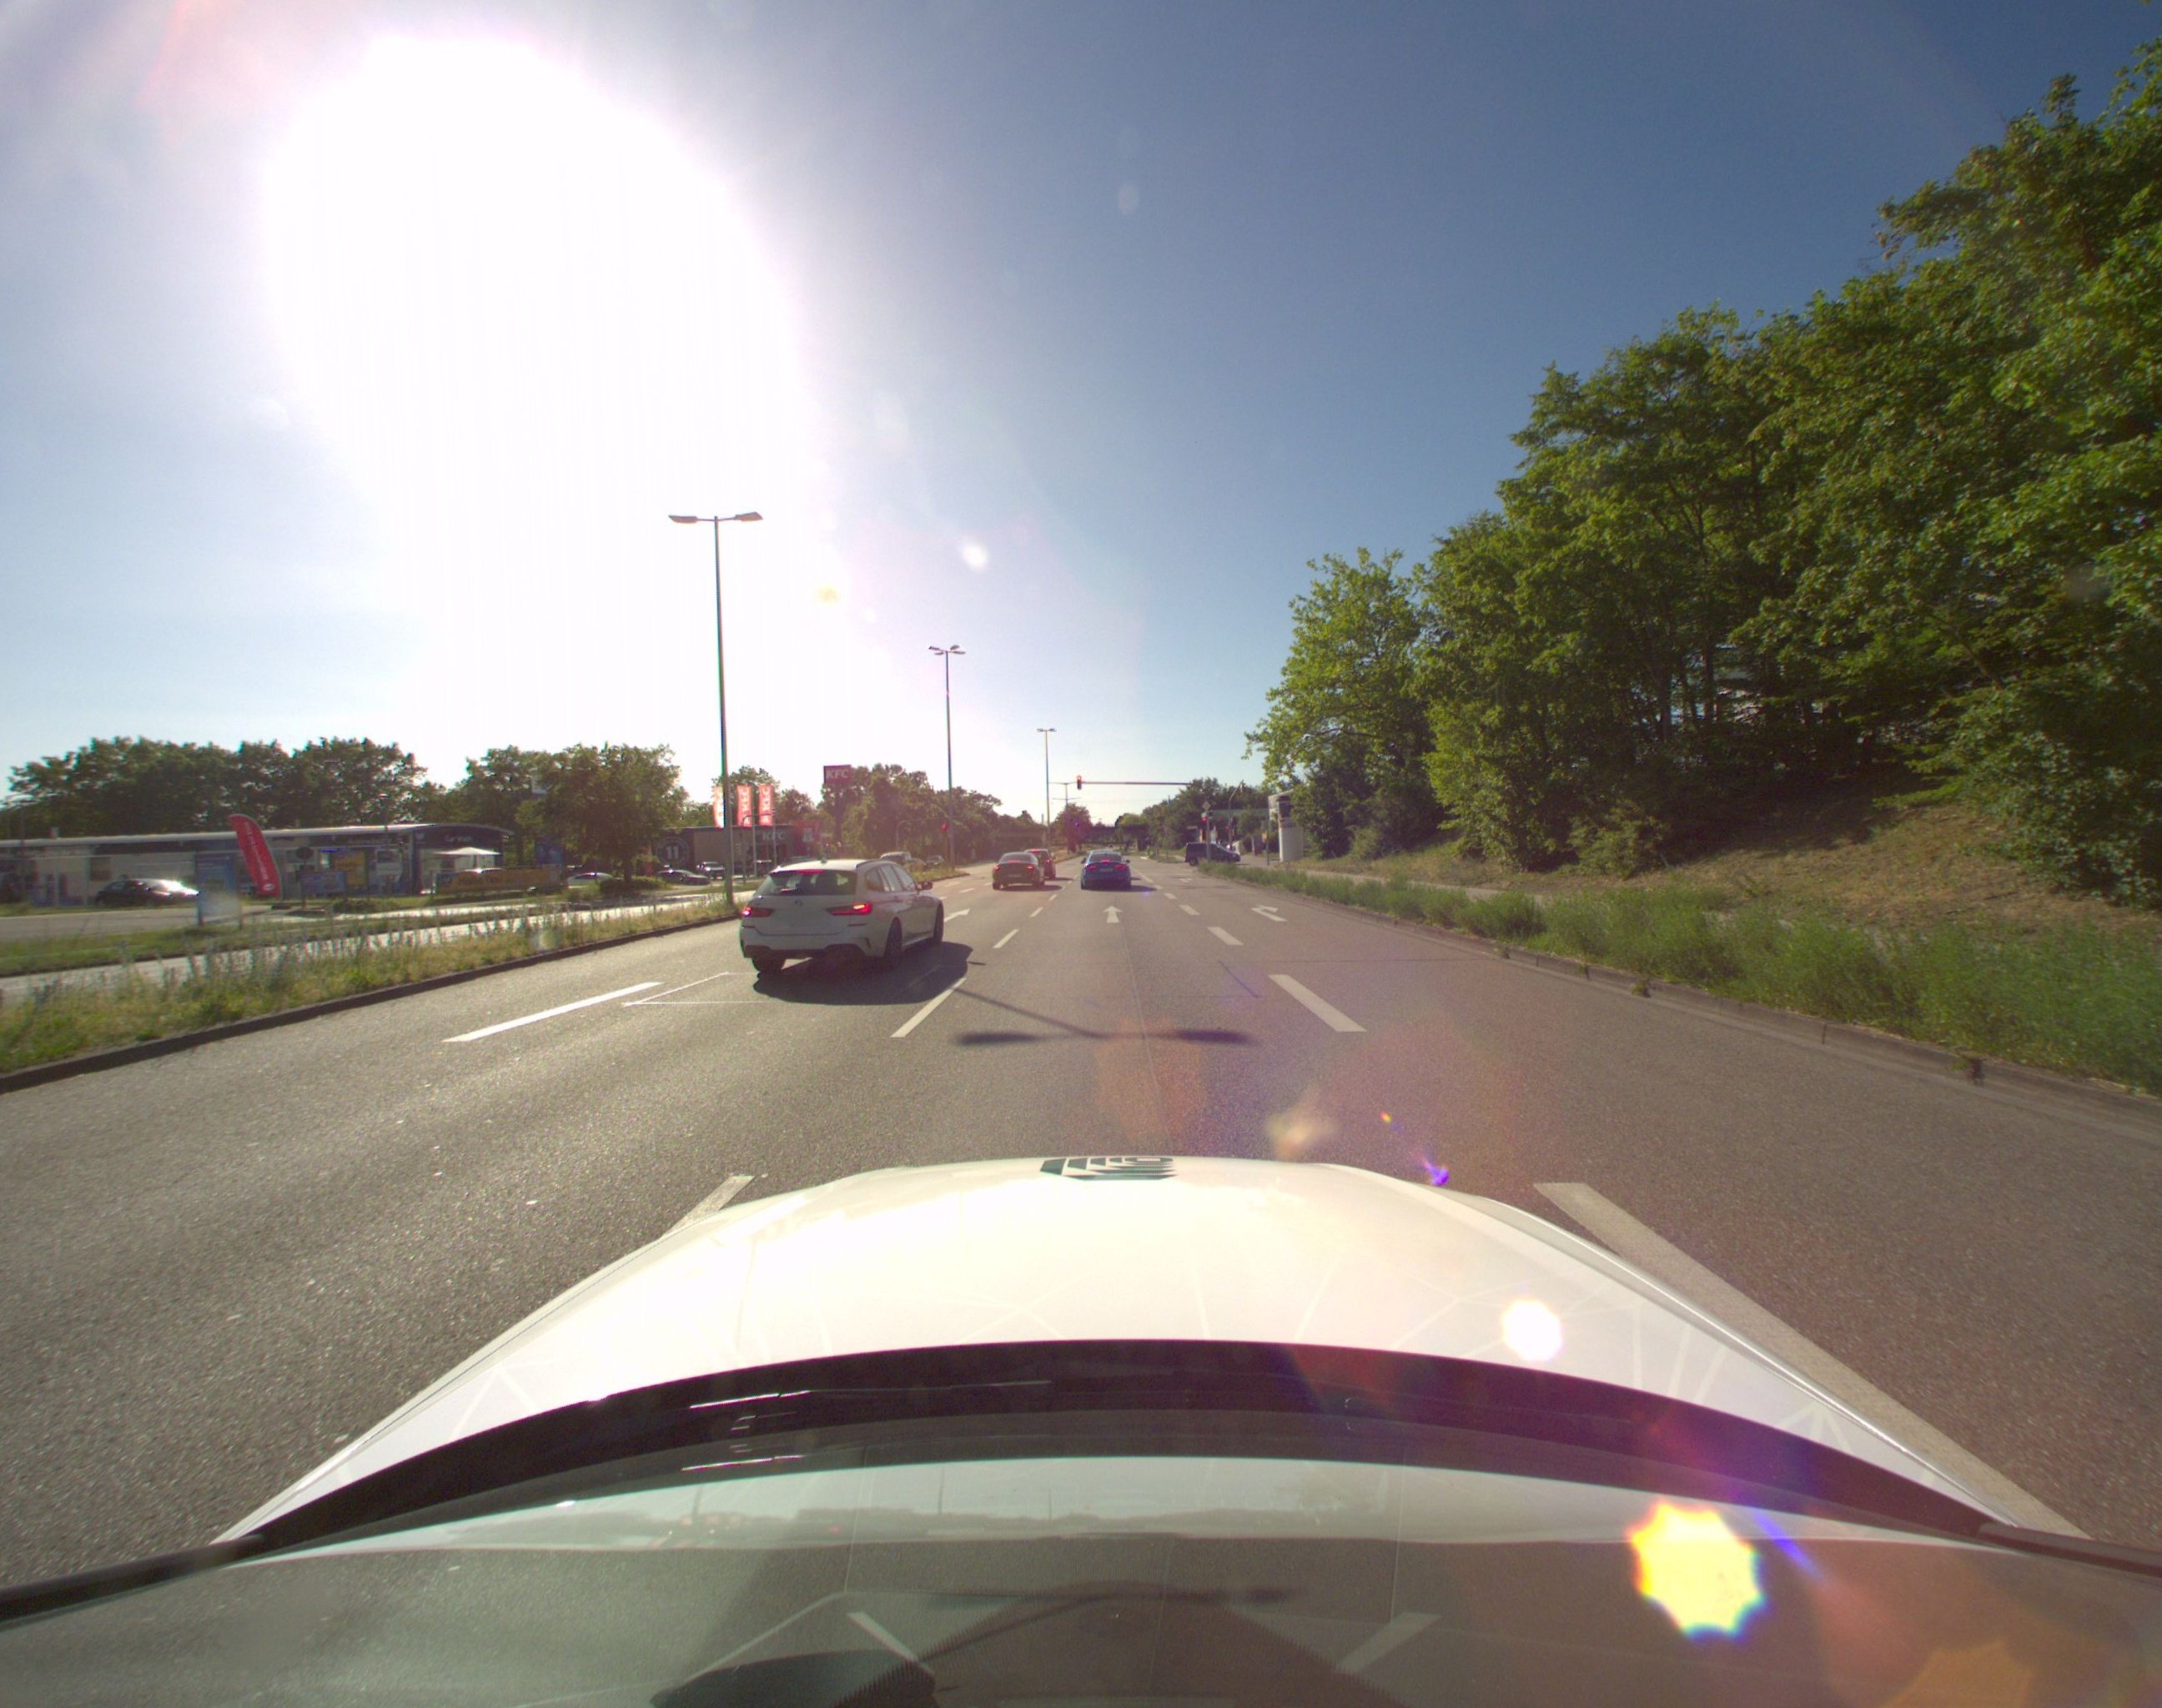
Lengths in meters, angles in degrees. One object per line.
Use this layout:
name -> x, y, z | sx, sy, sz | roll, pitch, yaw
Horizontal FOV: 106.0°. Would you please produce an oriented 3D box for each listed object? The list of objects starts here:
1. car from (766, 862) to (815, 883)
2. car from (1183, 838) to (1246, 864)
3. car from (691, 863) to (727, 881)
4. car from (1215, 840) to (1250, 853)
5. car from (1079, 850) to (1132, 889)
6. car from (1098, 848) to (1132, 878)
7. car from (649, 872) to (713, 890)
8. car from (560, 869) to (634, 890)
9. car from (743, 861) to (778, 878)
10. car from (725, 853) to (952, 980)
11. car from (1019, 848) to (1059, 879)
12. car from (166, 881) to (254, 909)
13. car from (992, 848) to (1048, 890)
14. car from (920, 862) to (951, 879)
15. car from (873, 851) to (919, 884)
car -> -25.493, 1.609, 71.633 | 3.761, 1.813, 1.993 | -1, 0, -11
car -> 10.451, -0.203, 63.869 | 4.543, 1.875, 1.827 | -2, 0, 20
car -> -36.556, 1.761, 80.058 | 1.946, 1.740, 4.046 | 0, -1, -45
car -> 18.576, -0.907, 99.923 | 3.971, 1.552, 2.001 | -1, 0, 2
car -> 1.010, 0.575, 31.726 | 1.901, 1.423, 3.722 | -1, 0, 4
car -> 1.827, 0.441, 42.811 | 1.696, 1.497, 3.722 | -1, 0, 4
car -> -31.292, 2.100, 63.804 | 4.070, 1.252, 1.871 | -1, 0, 0
car -> -38.203, 2.003, 64.358 | 4.608, 1.579, 1.936 | -1, 0, 0
car -> -32.911, 1.573, 83.560 | 1.946, 1.740, 4.046 | 0, -1, -45
car -> -3.228, 0.750, 11.922 | 1.805, 1.486, 4.598 | -1, 0, 2
car -> -2.178, 0.478, 43.136 | 1.806, 1.551, 4.353 | -1, 0, 1
car -> -47.672, 2.224, 44.631 | 3.129, 1.441, 1.534 | -1, 0, 0
car -> -2.400, 0.565, 33.295 | 1.805, 1.551, 4.544 | -1, 0, 1
car -> -16.180, 1.784, 90.855 | 1.790, 1.726, 4.338 | -1, 1, 14
car -> -11.086, 0.785, 48.985 | 1.671, 1.848, 4.296 | -1, 0, 1
